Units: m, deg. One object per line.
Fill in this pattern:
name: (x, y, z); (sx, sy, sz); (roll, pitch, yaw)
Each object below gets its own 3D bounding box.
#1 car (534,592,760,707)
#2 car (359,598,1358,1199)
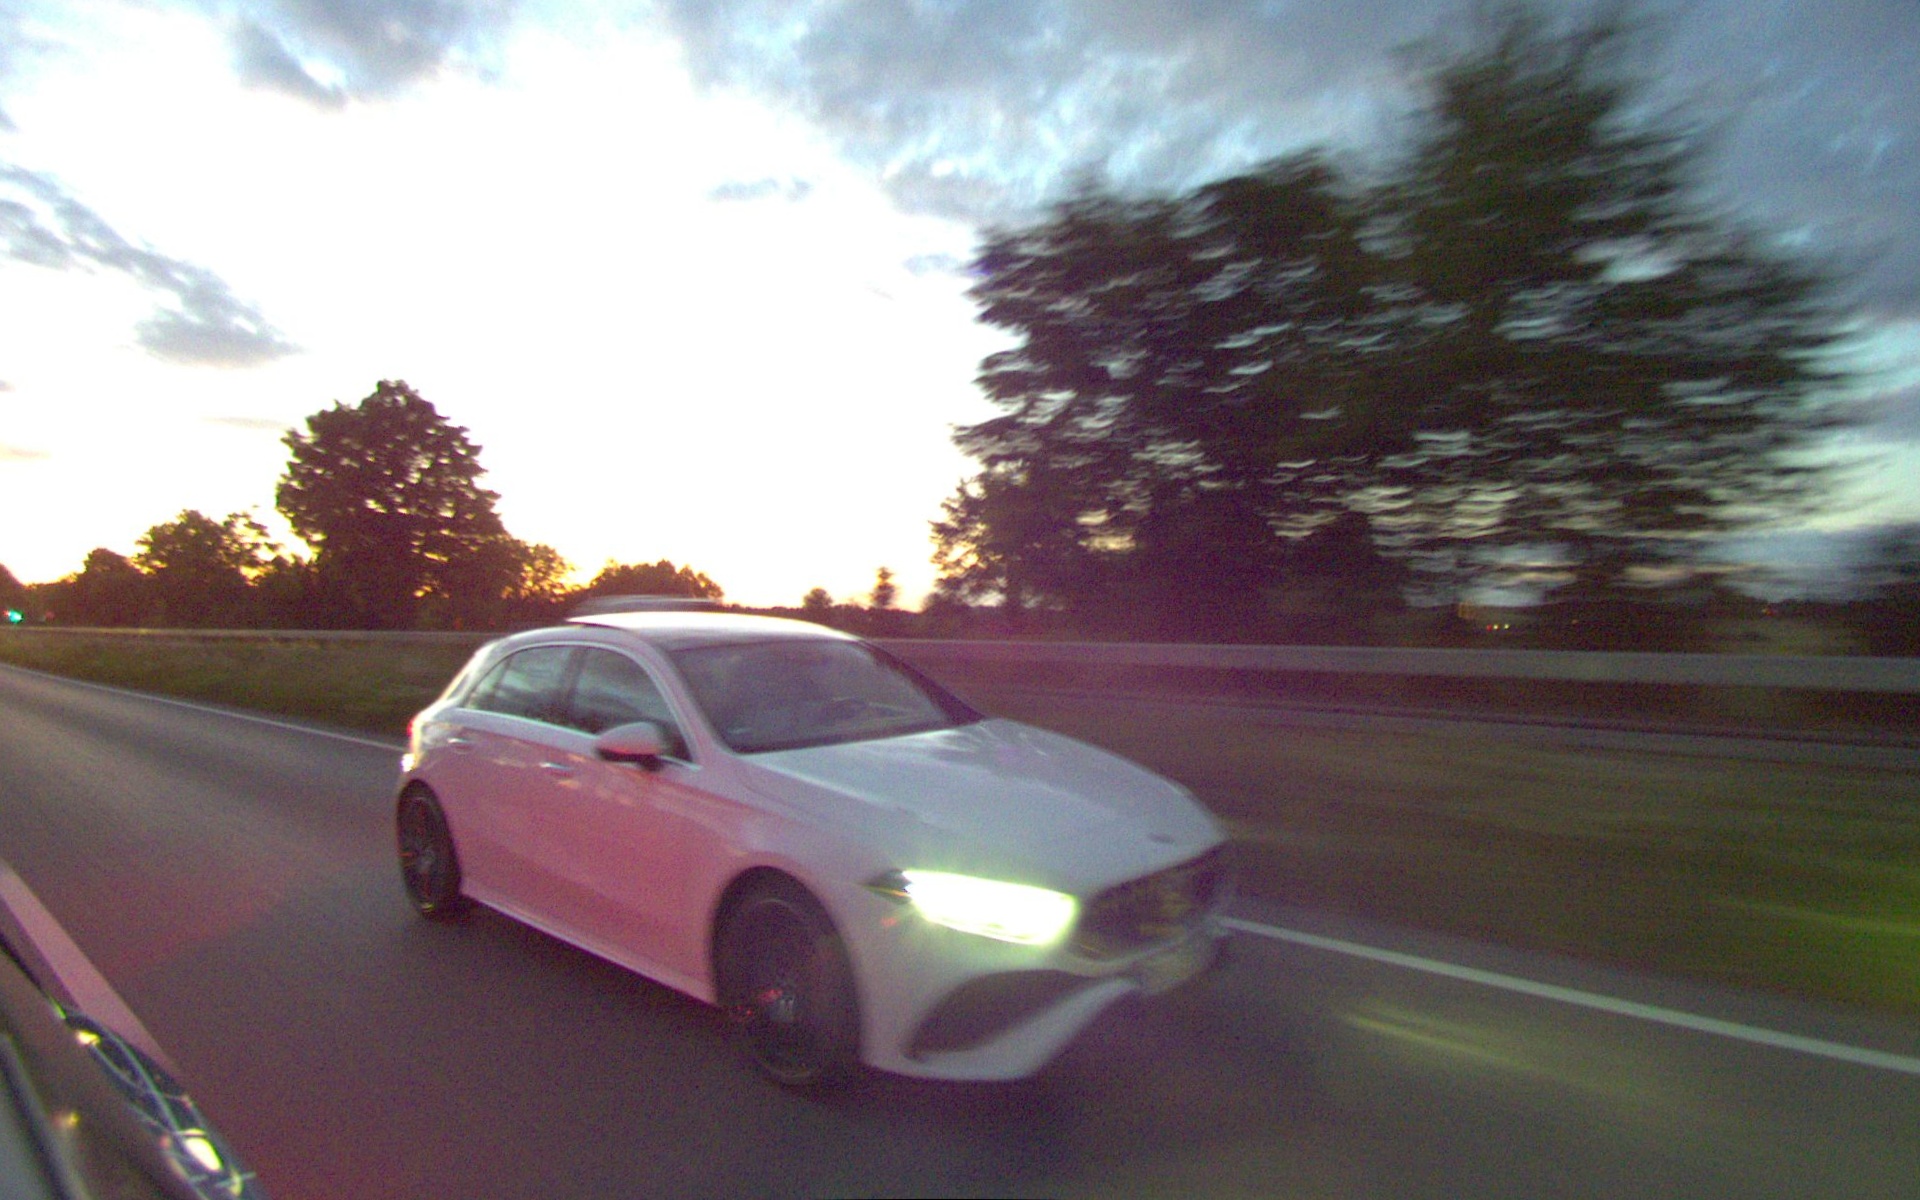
car: (-6.646, 0.938, 21.098); (5.343, 2.115, 1.945); (-1, 0, 40)
car: (-0.888, 0.774, 4.374); (4.578, 1.502, 1.625); (-1, 0, 41)
